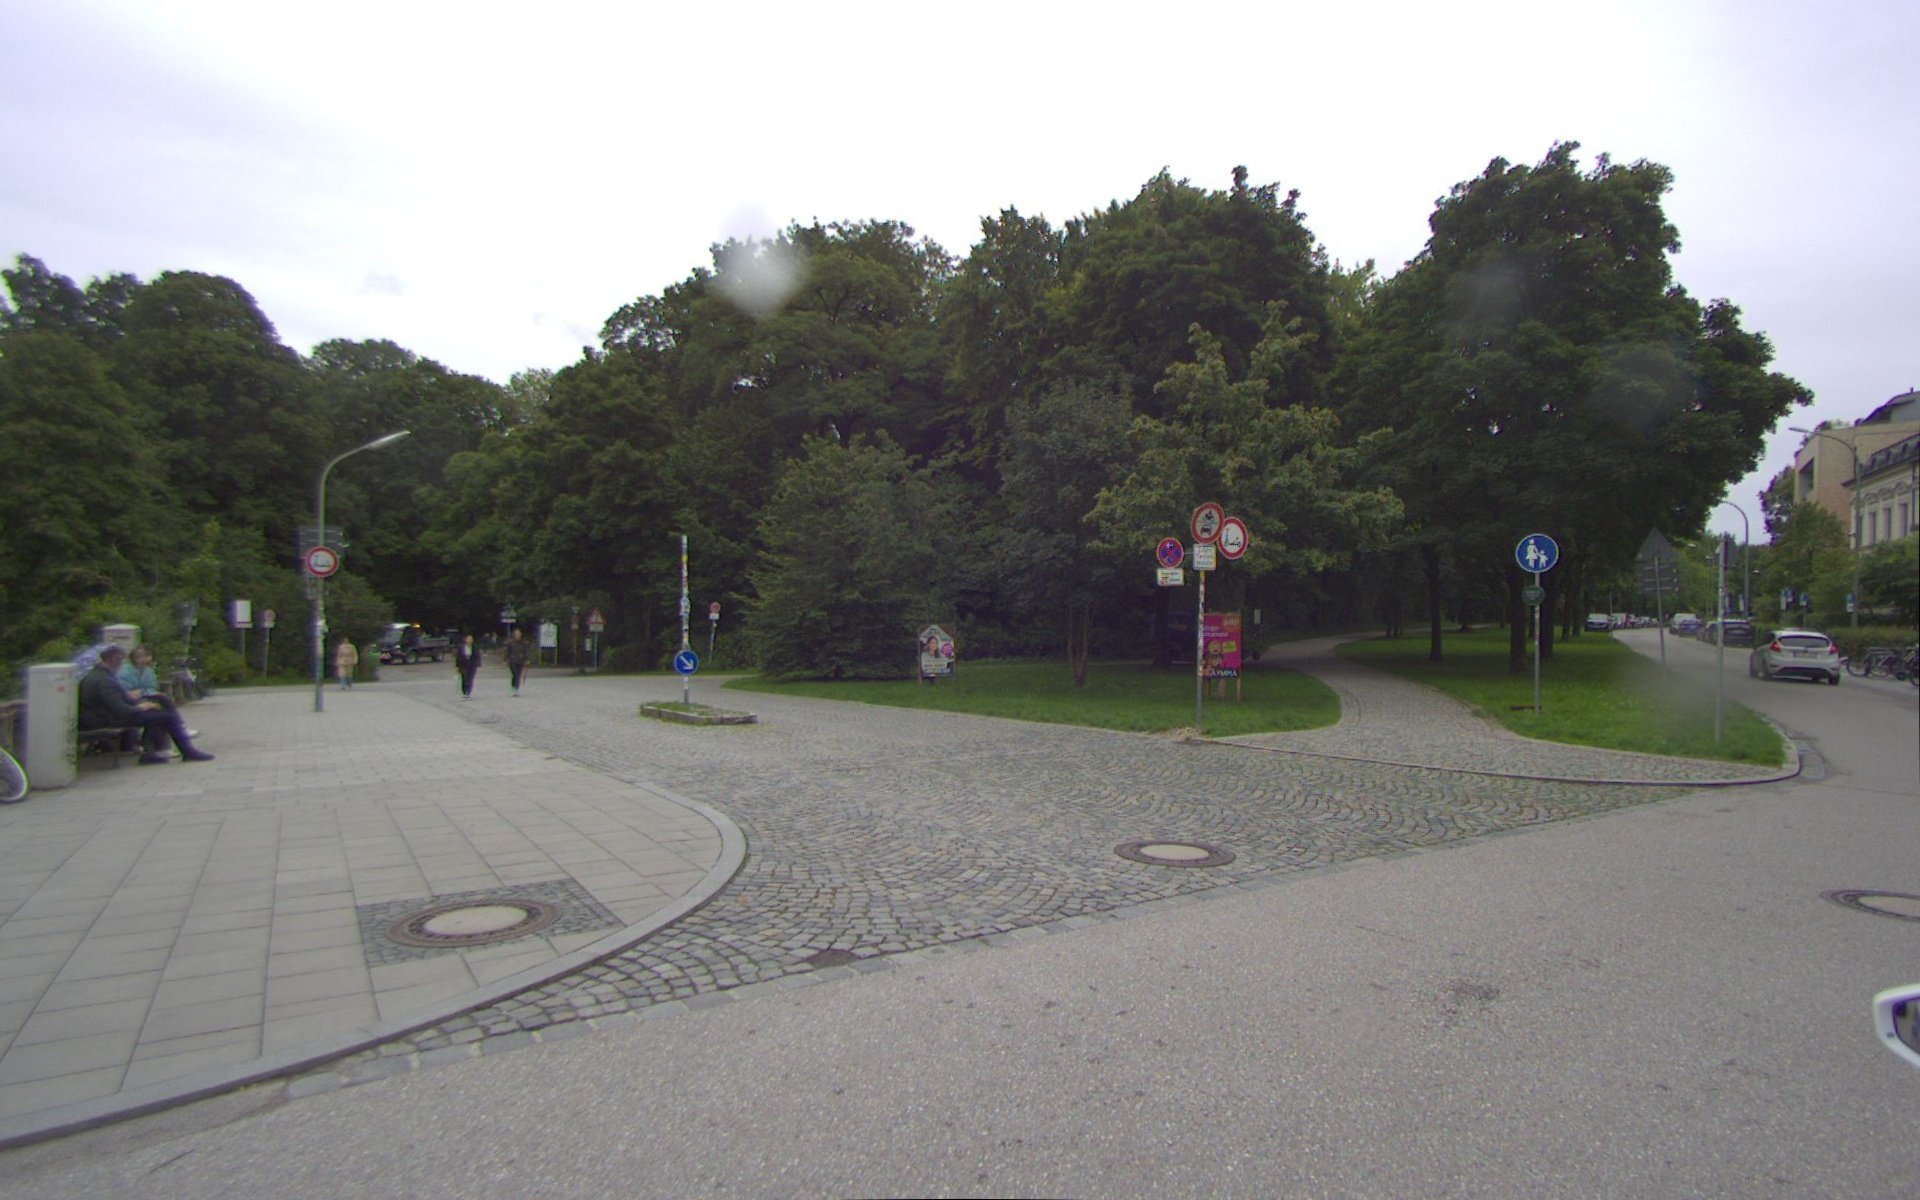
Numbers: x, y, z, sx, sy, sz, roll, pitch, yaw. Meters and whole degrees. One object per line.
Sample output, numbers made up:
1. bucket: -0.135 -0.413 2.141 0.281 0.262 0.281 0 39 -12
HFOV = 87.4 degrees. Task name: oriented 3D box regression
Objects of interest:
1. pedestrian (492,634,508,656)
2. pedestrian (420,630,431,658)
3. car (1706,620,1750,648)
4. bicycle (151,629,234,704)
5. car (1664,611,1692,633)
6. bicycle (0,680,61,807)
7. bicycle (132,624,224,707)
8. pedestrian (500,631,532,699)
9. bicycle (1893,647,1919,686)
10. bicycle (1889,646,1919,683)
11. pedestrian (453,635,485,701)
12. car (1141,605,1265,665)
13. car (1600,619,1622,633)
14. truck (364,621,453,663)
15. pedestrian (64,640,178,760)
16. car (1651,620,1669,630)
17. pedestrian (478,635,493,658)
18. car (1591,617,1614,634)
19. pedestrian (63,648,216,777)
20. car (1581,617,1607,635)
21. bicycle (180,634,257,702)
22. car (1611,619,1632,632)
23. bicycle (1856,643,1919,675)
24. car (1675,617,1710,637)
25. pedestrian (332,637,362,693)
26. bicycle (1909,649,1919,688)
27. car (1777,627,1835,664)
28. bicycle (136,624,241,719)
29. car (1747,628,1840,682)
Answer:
1. pedestrian: -34.576 3.383 75.543 0.722 1.674 0.878 -1 -1 39
2. pedestrian: -39.804 3.253 74.770 0.689 2.040 0.712 0 -1 -33
3. car: 48.537 2.141 63.539 1.767 1.702 3.992 0 -1 31
4. bicycle: -19.155 1.601 25.041 3.106 1.684 1.047 0 -1 41
5. car: 67.354 2.054 94.300 2.038 1.992 4.962 0 -1 35
6. bicycle: -7.947 1.176 8.075 0.407 0.990 1.274 0 -1 -7
7. bicycle: -17.435 1.409 22.353 2.959 1.684 1.047 0 -1 41
8. pedestrian: -11.564 1.665 26.136 0.653 1.720 0.745 1 0 -32
9. bicycle: 26.180 1.802 27.139 1.507 1.028 0.409 0 -1 3
10. bicycle: 27.365 1.839 28.535 1.507 1.028 0.409 0 -1 3
11. pedestrian: -12.447 1.708 25.452 0.683 1.602 0.746 1 0 -29
12. car: 8.477 1.224 35.236 3.922 2.040 1.787 0 -1 -2
13. car: 75.364 2.988 116.272 1.968 1.622 4.452 0 -1 36
14. truck: -34.514 2.585 63.117 2.352 2.493 5.496 1 -1 2
15. pedestrian: -10.211 1.177 12.254 1.024 1.353 0.945 1 -1 -40
16. car: 112.286 4.000 161.087 1.970 1.622 4.446 0 -1 40
17. pedestrian: -35.186 3.417 74.473 0.866 1.674 0.732 0 -1 -9
18. car: 66.510 2.616 104.018 1.965 1.622 4.457 0 -1 32
19. pedestrian: -9.033 1.193 11.102 1.256 1.285 0.841 1 -1 -40
20. car: 57.064 2.326 90.446 1.965 1.622 4.457 0 -1 32
21. bicycle: -20.403 1.819 27.602 3.106 1.684 1.047 0 -1 41
22. car: 83.941 3.233 127.471 1.968 1.622 4.451 0 -1 36
23. bicycle: 31.025 1.969 33.601 1.507 1.028 0.409 0 -1 16
24. car: 62.763 2.329 86.128 1.965 1.622 4.245 0 -1 31
25. pedestrian: -19.962 2.096 32.709 0.742 1.728 1.100 1 -1 -37
26. bicycle: 26.142 1.817 26.635 1.507 1.028 0.409 0 -1 3
27. car: 38.803 2.036 46.146 1.624 1.579 3.549 0 -1 34
28. bicycle: -15.333 1.352 19.919 3.106 1.684 1.047 0 -1 41
29. car: 24.358 1.569 29.471 1.723 1.425 3.716 0 -1 34
